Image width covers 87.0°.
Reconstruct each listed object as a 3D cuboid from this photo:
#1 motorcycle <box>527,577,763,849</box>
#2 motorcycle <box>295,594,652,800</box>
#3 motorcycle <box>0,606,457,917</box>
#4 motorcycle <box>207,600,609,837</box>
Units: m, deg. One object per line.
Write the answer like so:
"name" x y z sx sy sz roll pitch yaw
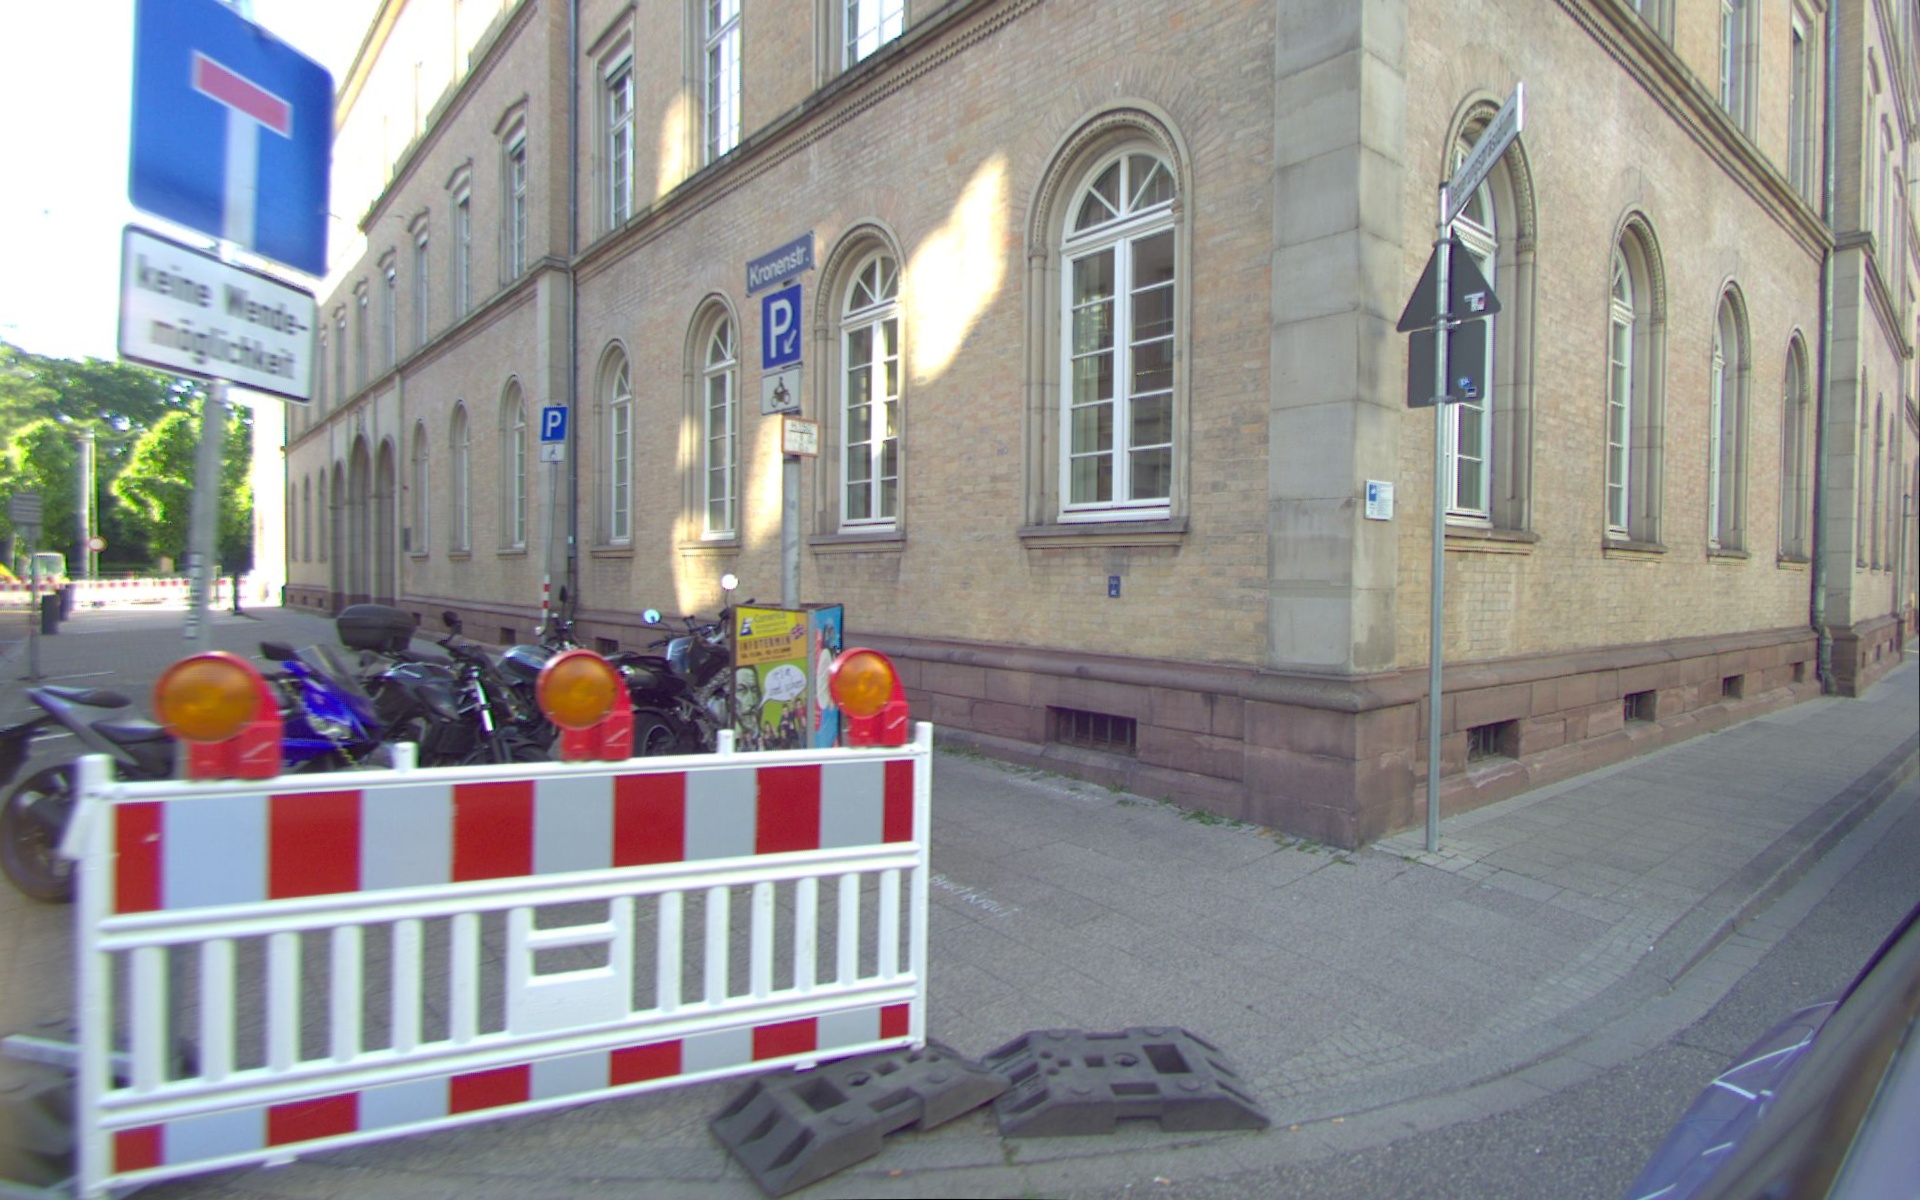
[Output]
"motorcycle" -1.817 0.556 6.229 0.694 1.349 2.079 0 2 3
"motorcycle" -3.319 0.626 7.028 2.106 1.304 0.828 0 1 4
"motorcycle" -3.633 0.683 4.749 2.111 1.239 0.875 0 3 4
"motorcycle" -3.146 0.633 5.896 1.919 1.240 0.828 0 1 4
